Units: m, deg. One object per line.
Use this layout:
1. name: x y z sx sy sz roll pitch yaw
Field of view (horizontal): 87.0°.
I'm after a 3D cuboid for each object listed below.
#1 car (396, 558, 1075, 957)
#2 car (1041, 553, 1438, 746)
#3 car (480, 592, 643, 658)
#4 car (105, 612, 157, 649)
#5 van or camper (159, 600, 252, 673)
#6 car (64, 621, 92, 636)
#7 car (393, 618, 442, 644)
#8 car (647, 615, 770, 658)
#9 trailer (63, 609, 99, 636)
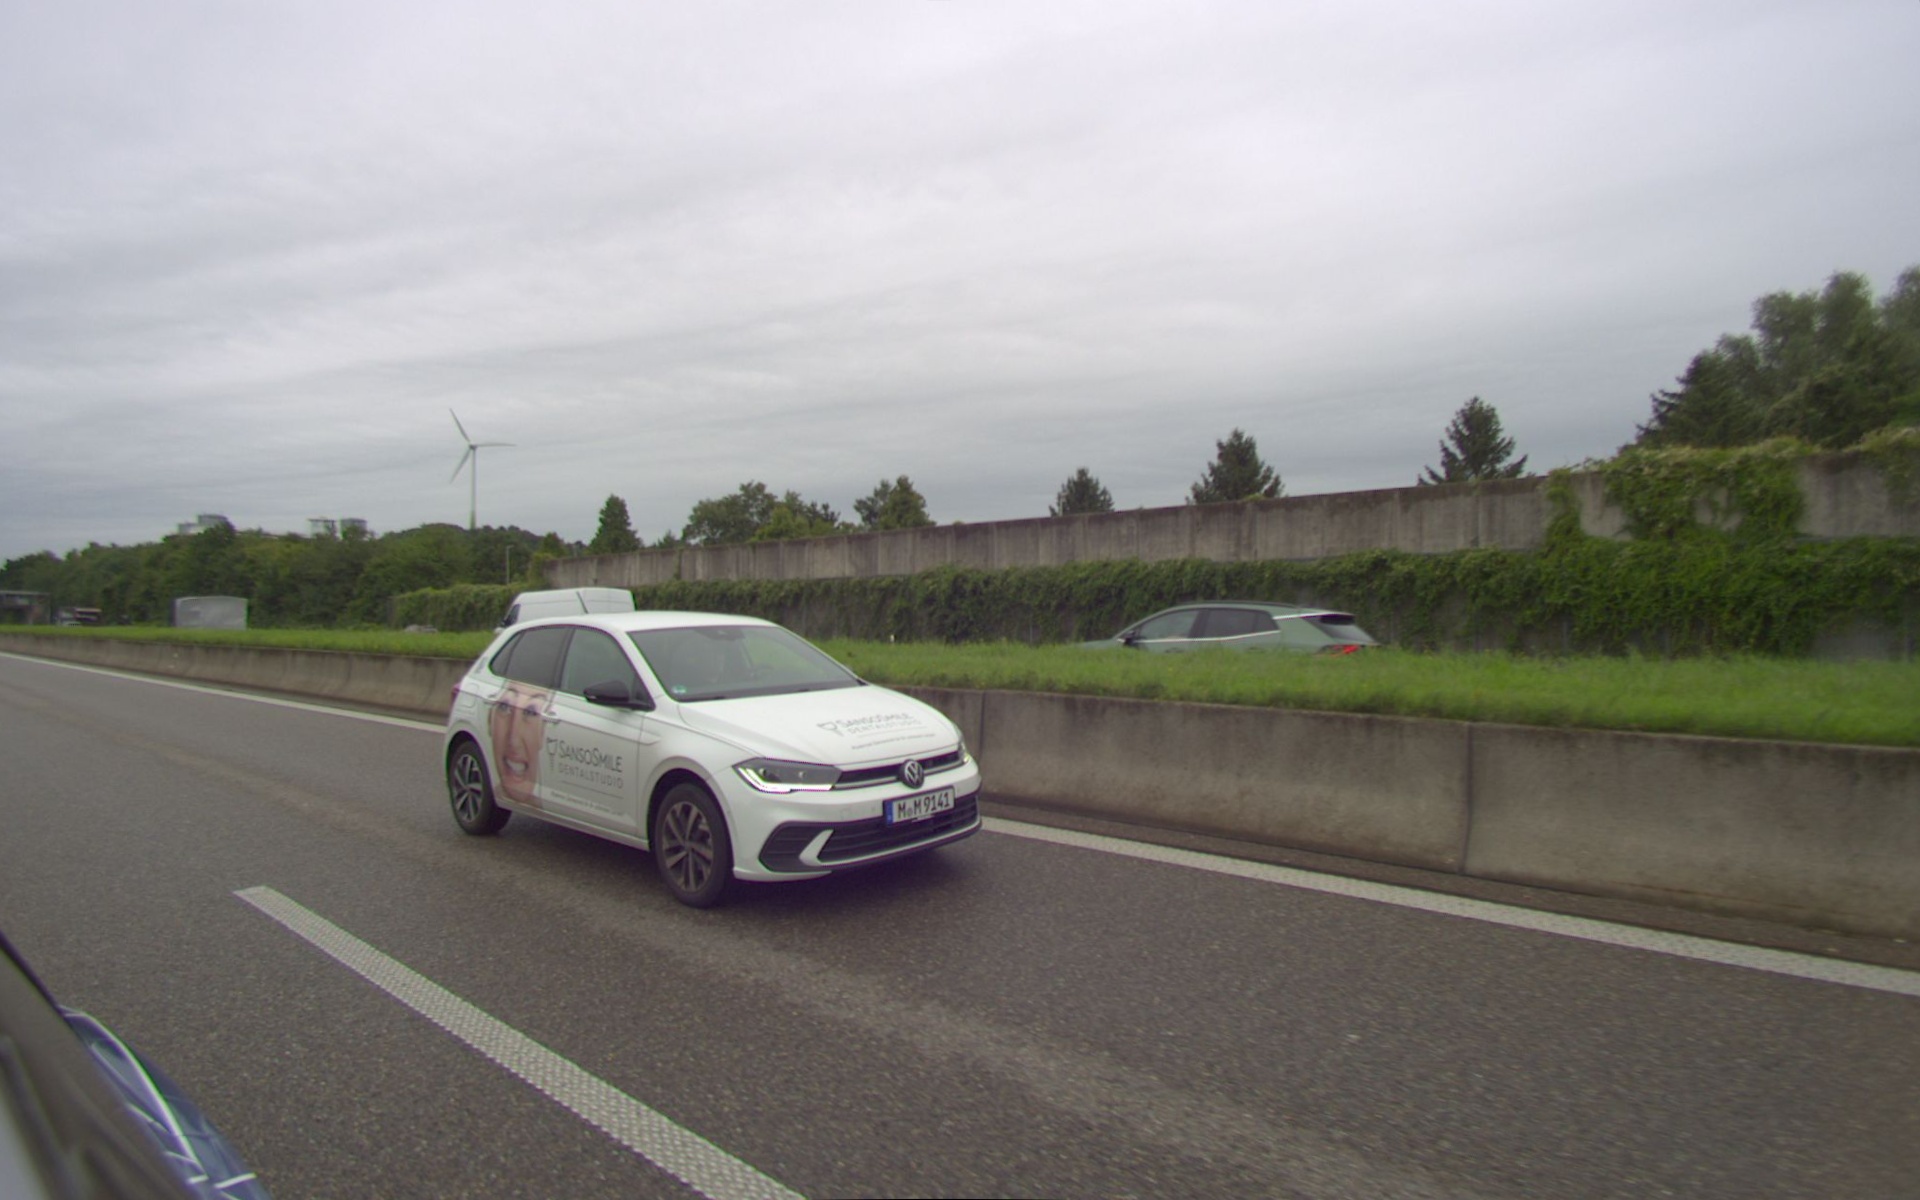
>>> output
1. car: -1.698 0.693 6.346 4.661 1.630 1.735 -1 -2 41
2. car: 3.394 0.528 12.819 4.468 2.029 1.903 -1 0 41
3. car: -12.863 0.749 32.405 6.531 1.926 2.104 -1 0 41
4. car: -48.766 1.756 59.503 3.998 2.029 1.749 -1 0 42
5. van or camper: -44.236 2.023 59.232 8.398 3.978 2.680 -1 0 41
6. car: -98.633 3.167 113.146 4.290 1.645 1.765 -1 0 40
7. car: -35.442 1.984 66.082 4.068 1.619 1.601 -1 0 42
8. car: -8.748 1.238 34.990 4.524 1.354 1.860 -1 -1 41
9. trailer: -112.624 2.798 129.627 10.560 3.314 2.282 -1 0 42
